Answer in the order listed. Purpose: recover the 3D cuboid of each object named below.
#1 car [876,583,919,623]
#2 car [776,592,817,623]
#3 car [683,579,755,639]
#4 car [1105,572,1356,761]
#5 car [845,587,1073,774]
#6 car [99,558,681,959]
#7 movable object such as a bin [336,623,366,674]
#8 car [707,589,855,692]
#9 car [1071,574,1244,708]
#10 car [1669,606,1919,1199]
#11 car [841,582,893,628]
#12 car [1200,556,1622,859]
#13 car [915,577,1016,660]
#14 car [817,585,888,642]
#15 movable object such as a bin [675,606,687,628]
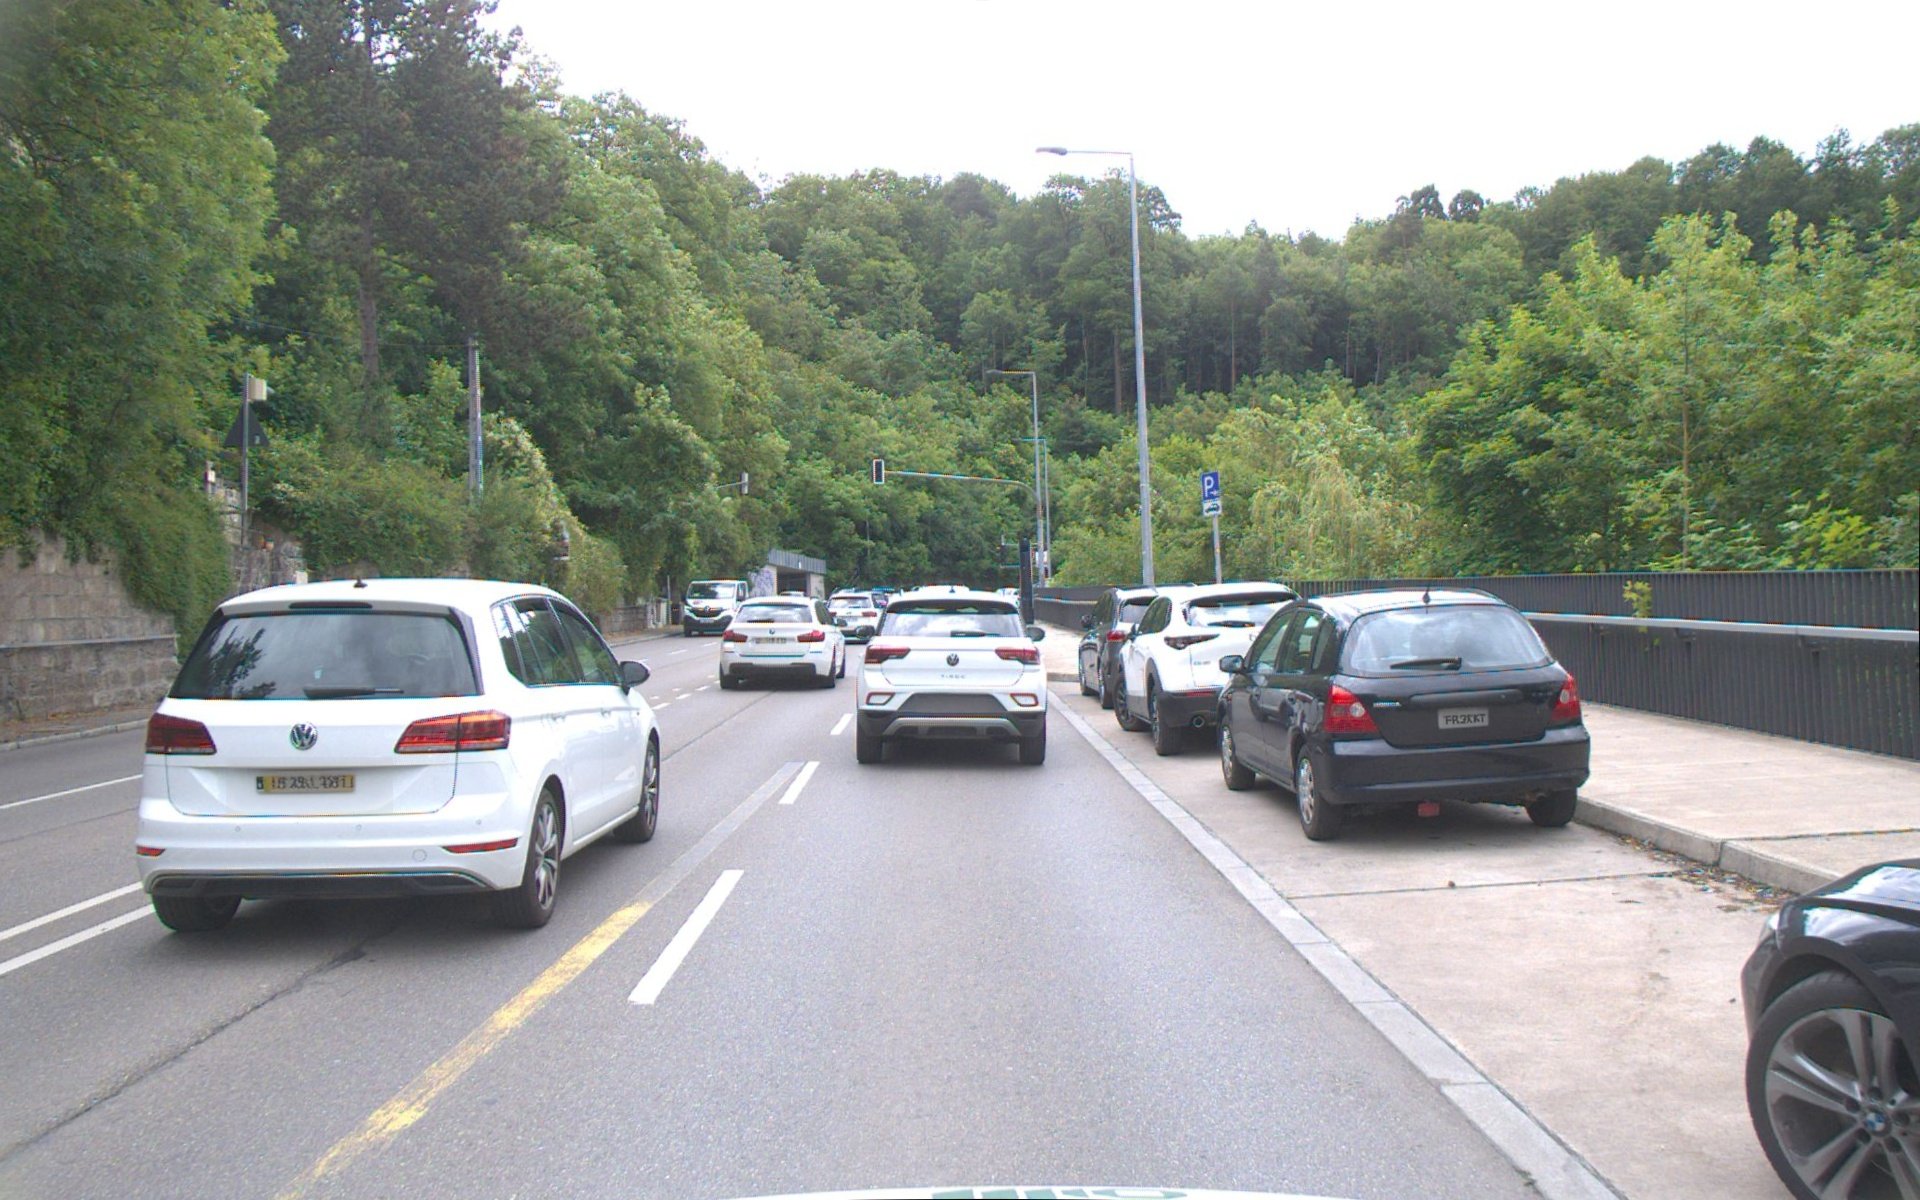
[{"bbox_3d":[-3.029,0.159,81.310,1.953,1.897,4.000,-1,0,0],"label":"car"},{"bbox_3d":[-8.611,0.386,87.342,1.641,1.467,4.234,1,2,1],"label":"car"},{"bbox_3d":[-8.748,0.298,60.460,1.882,2.040,5.355,-1,0,0],"label":"car"},{"bbox_3d":[2.592,0.589,16.932,1.691,1.596,4.623,-2,0,-1],"label":"car"},{"bbox_3d":[0.122,0.698,16.275,1.775,1.566,4.011,-2,0,6],"label":"car"},{"bbox_3d":[-2.641,0.624,8.775,1.685,1.581,4.274,-1,0,-1],"label":"car"},{"bbox_3d":[-12.139,0.964,32.953,0.468,0.988,0.367,1,0,-5],"label":"movable object such as a bin"},{"bbox_3d":[-2.899,0.608,27.756,1.952,1.585,4.681,0,0,0],"label":"car"},{"bbox_3d":[2.648,0.508,23.123,1.721,1.570,4.426,-4,0,-1],"label":"car"},{"bbox_3d":[2.893,0.719,2.292,1.787,1.425,4.318,-4,0,-2],"label":"car"},{"bbox_3d":[-3.759,0.190,67.517,1.953,1.771,3.999,-1,0,-1],"label":"car"},{"bbox_3d":[2.873,0.600,11.522,1.626,1.599,4.254,-4,0,-1],"label":"car"},{"bbox_3d":[0.201,0.423,39.705,1.951,1.875,4.153,1,0,7],"label":"car"},{"bbox_3d":[-3.160,0.417,49.229,1.824,1.623,3.999,1,-1,0],"label":"car"},{"bbox_3d":[-12.054,0.742,71.513,0.418,0.966,0.479,1,0,-2],"label":"movable object such as a bin"}]
